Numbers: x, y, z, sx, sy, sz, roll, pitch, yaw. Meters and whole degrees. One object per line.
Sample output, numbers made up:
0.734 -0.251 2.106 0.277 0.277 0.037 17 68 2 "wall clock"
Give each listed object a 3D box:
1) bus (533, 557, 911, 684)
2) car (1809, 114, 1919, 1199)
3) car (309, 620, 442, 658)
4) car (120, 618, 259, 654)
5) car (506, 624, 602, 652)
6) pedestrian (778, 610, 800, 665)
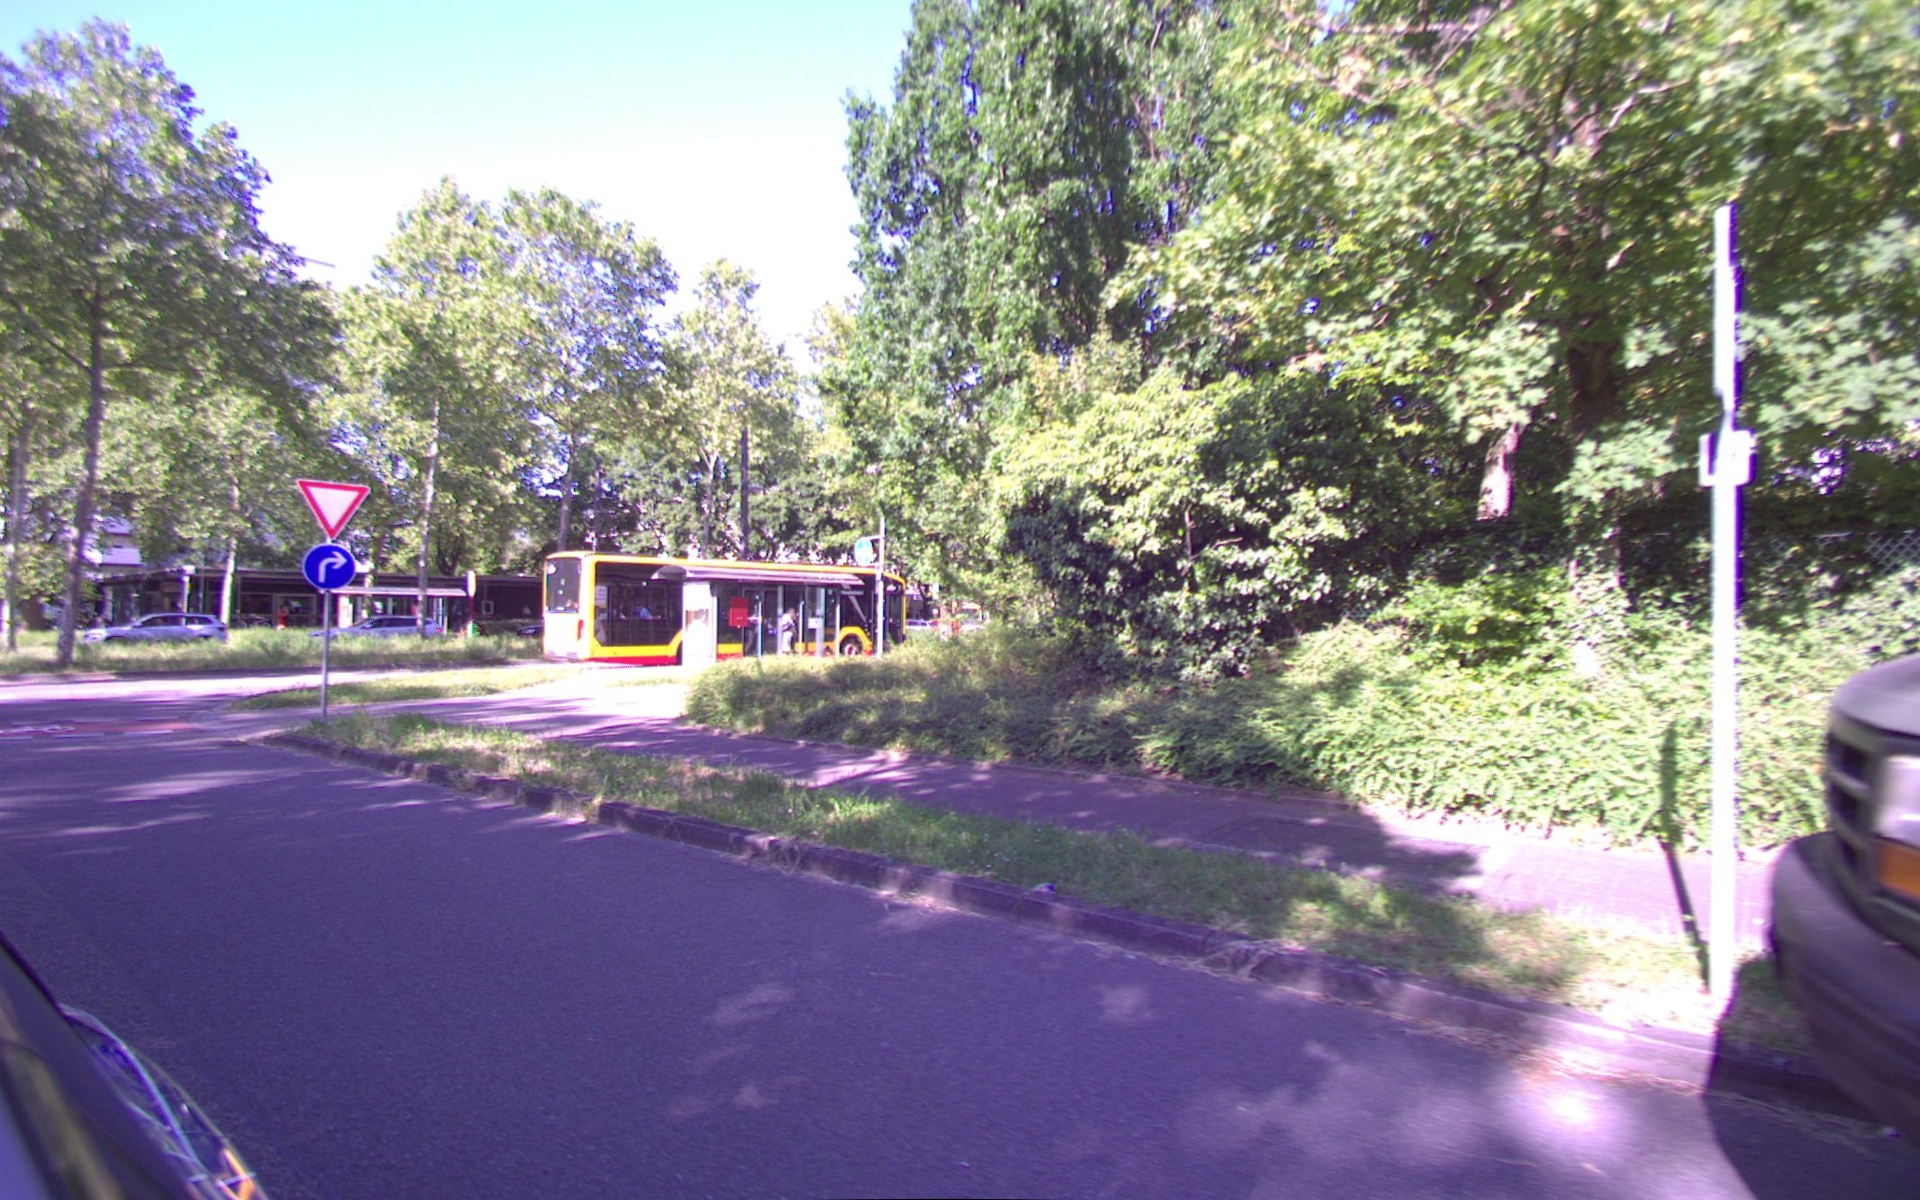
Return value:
-6.789 0.509 31.576 2.698 3.294 11.977 -1 0 44 "bus"
4.473 0.391 0.112 6.575 2.112 2.099 -1 -2 38 "car"
-23.711 1.541 41.176 1.619 1.402 4.423 -1 0 42 "car"
-29.053 1.322 38.239 1.620 1.229 4.008 -1 0 44 "car"
-19.560 1.810 48.914 1.620 1.229 4.008 -1 0 44 "car"
-5.085 1.110 30.123 0.474 1.614 0.589 -1 0 10 "pedestrian"
